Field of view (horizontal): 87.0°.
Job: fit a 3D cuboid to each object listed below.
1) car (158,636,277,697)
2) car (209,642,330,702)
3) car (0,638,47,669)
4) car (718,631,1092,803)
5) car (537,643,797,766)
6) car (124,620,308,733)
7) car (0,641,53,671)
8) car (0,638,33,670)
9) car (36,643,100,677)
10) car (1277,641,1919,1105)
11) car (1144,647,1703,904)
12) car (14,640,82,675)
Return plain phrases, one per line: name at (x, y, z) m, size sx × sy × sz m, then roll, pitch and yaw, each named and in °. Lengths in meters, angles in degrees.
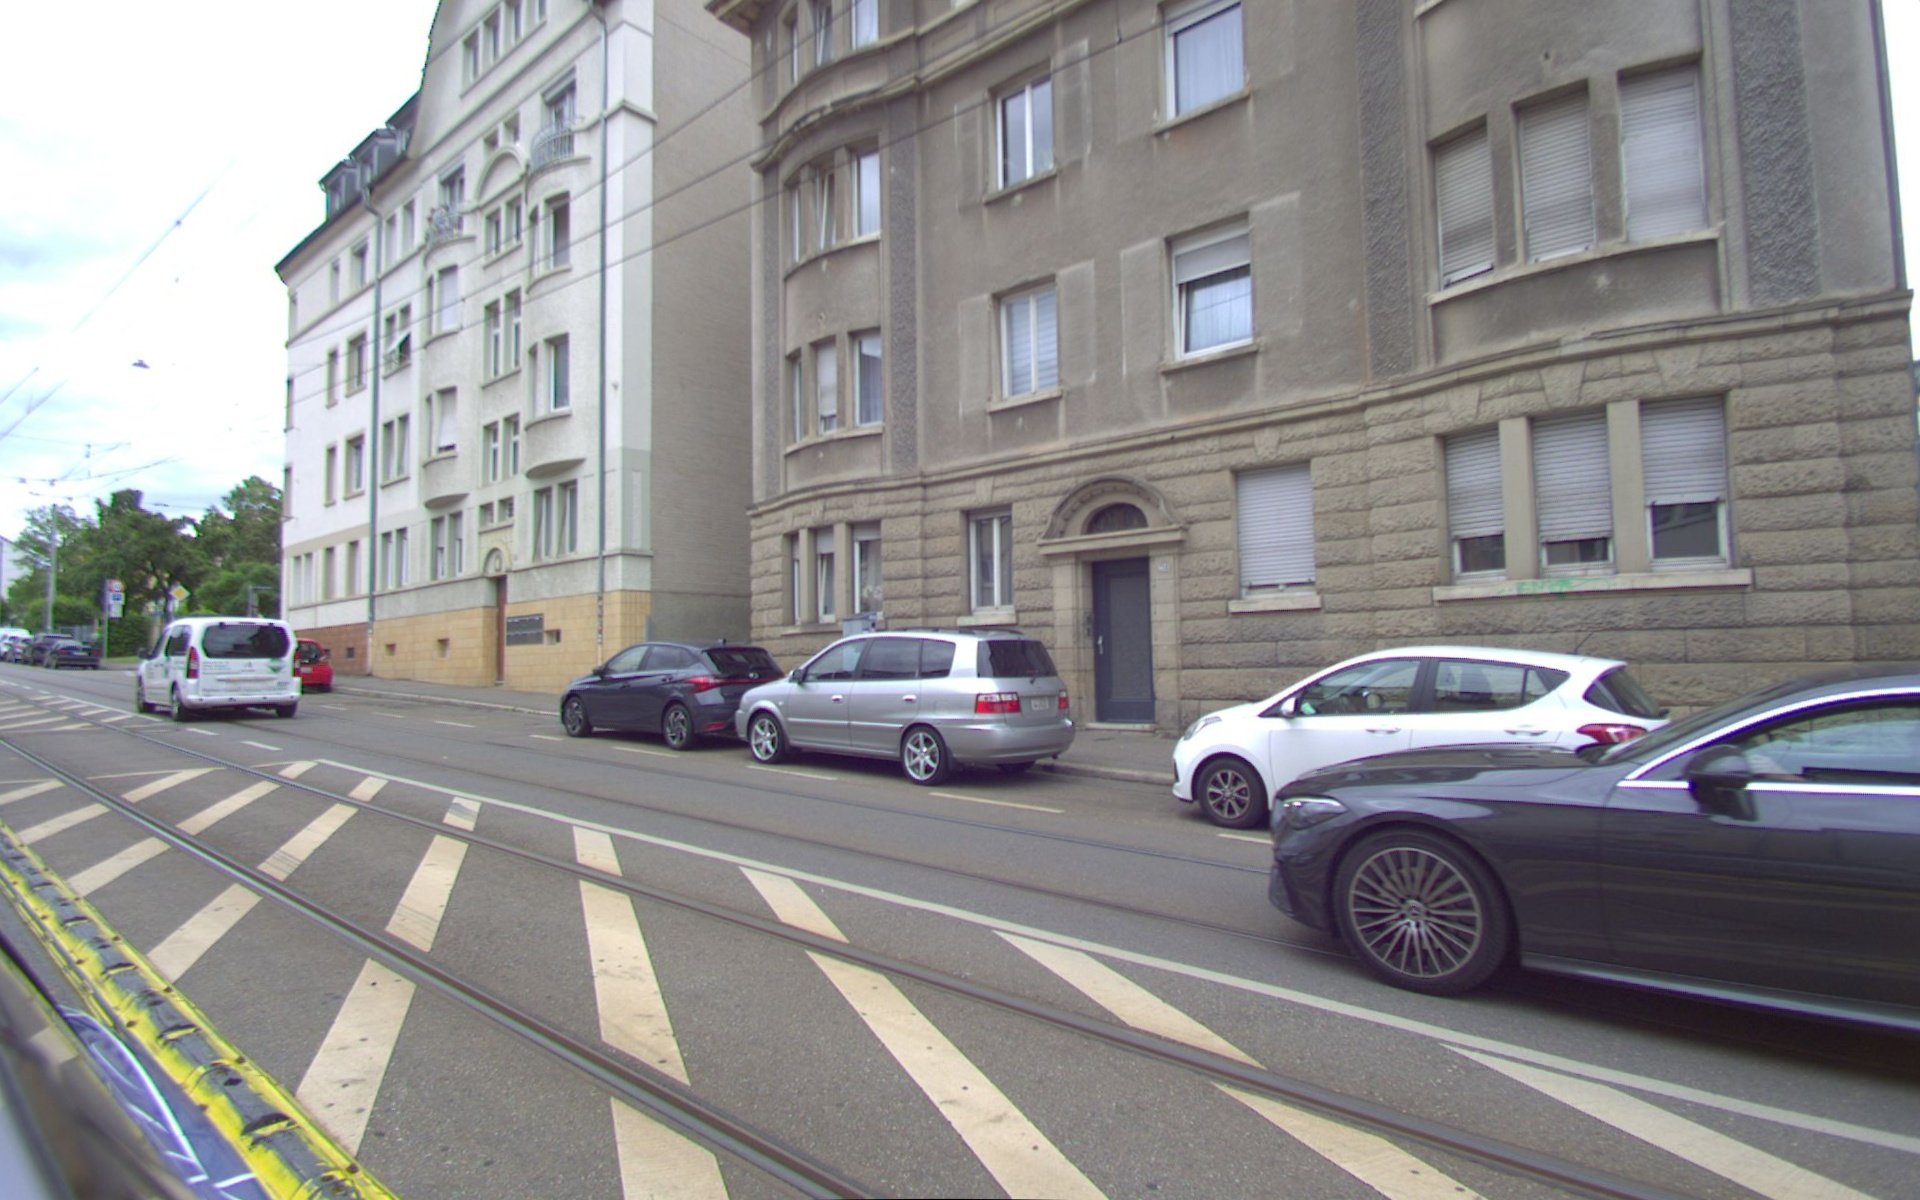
car at (-22.550, 1.968, 30.681) m, size 4.398 × 1.658 × 1.848 m, roll -1°, pitch -3°, yaw 40°
car at (-18.686, 1.903, 27.334) m, size 3.740 × 1.474 × 1.605 m, roll -1°, pitch -3°, yaw 38°
car at (-55.235, 3.089, 59.220) m, size 4.629 × 1.699 × 1.949 m, roll -1°, pitch -3°, yaw 40°
car at (-0.763, 1.196, 11.569) m, size 4.347 × 1.616 × 1.604 m, roll -2°, pitch -4°, yaw 40°
car at (-4.325, 1.411, 14.654) m, size 4.029 × 1.474 × 1.604 m, roll -1°, pitch -3°, yaw 40°
car at (-13.711, 1.316, 18.566) m, size 4.216 × 1.833 × 1.900 m, roll -2°, pitch -3°, yaw 42°
car at (-51.369, 3.083, 55.610) m, size 3.866 × 1.520 × 1.721 m, roll -1°, pitch -3°, yaw 40°
car at (-59.738, 3.353, 63.250) m, size 4.731 × 1.927 × 1.949 m, roll -1°, pitch -3°, yaw 40°
car at (-41.645, 2.777, 47.225) m, size 4.153 × 1.489 × 1.604 m, roll -1°, pitch -3°, yaw 40°
car at (3.737, 0.883, 3.788) m, size 4.495 × 1.435 × 1.901 m, roll -2°, pitch -3°, yaw 41°
car at (3.461, 1.149, 7.936) m, size 3.683 × 1.474 × 1.603 m, roll -1°, pitch -3°, yaw 41°
car at (-46.752, 2.924, 51.855) m, size 4.440 × 1.699 × 1.949 m, roll -1°, pitch -3°, yaw 40°
